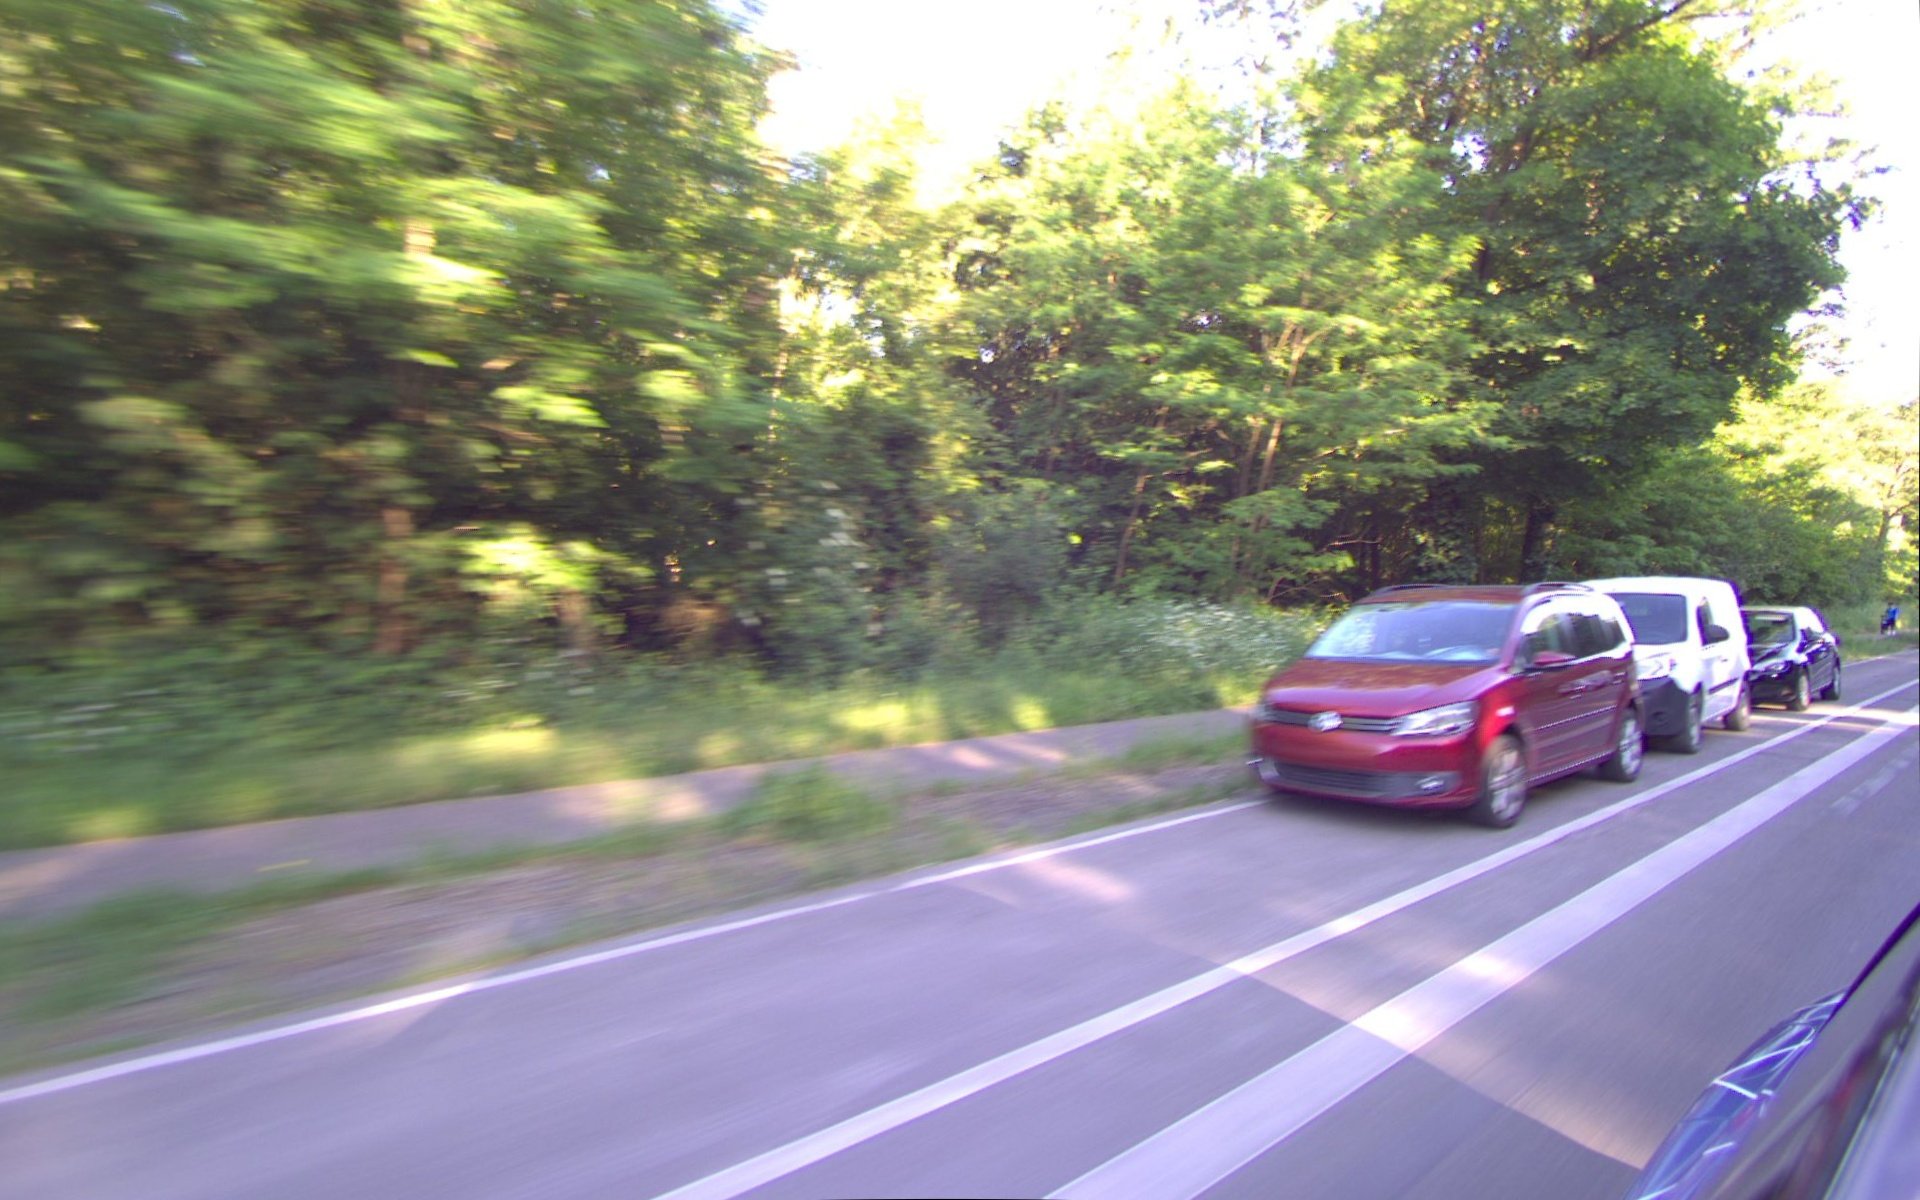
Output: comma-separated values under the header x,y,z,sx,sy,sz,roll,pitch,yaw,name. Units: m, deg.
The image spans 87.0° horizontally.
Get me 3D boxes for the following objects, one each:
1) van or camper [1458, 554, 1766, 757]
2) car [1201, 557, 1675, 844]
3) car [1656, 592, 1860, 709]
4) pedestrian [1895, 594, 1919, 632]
x,y,z,sx,sy,sz,roll,pitch,yaw,name
7.444,0.493,11.372,4.307,1.838,1.953,0,0,-43,van or camper
3.953,0.591,8.034,4.262,1.681,1.837,0,-1,-41,car
12.169,0.660,15.347,4.076,1.543,1.693,0,0,-41,car
49.345,0.667,52.721,0.903,1.942,0.769,1,1,-41,pedestrian
